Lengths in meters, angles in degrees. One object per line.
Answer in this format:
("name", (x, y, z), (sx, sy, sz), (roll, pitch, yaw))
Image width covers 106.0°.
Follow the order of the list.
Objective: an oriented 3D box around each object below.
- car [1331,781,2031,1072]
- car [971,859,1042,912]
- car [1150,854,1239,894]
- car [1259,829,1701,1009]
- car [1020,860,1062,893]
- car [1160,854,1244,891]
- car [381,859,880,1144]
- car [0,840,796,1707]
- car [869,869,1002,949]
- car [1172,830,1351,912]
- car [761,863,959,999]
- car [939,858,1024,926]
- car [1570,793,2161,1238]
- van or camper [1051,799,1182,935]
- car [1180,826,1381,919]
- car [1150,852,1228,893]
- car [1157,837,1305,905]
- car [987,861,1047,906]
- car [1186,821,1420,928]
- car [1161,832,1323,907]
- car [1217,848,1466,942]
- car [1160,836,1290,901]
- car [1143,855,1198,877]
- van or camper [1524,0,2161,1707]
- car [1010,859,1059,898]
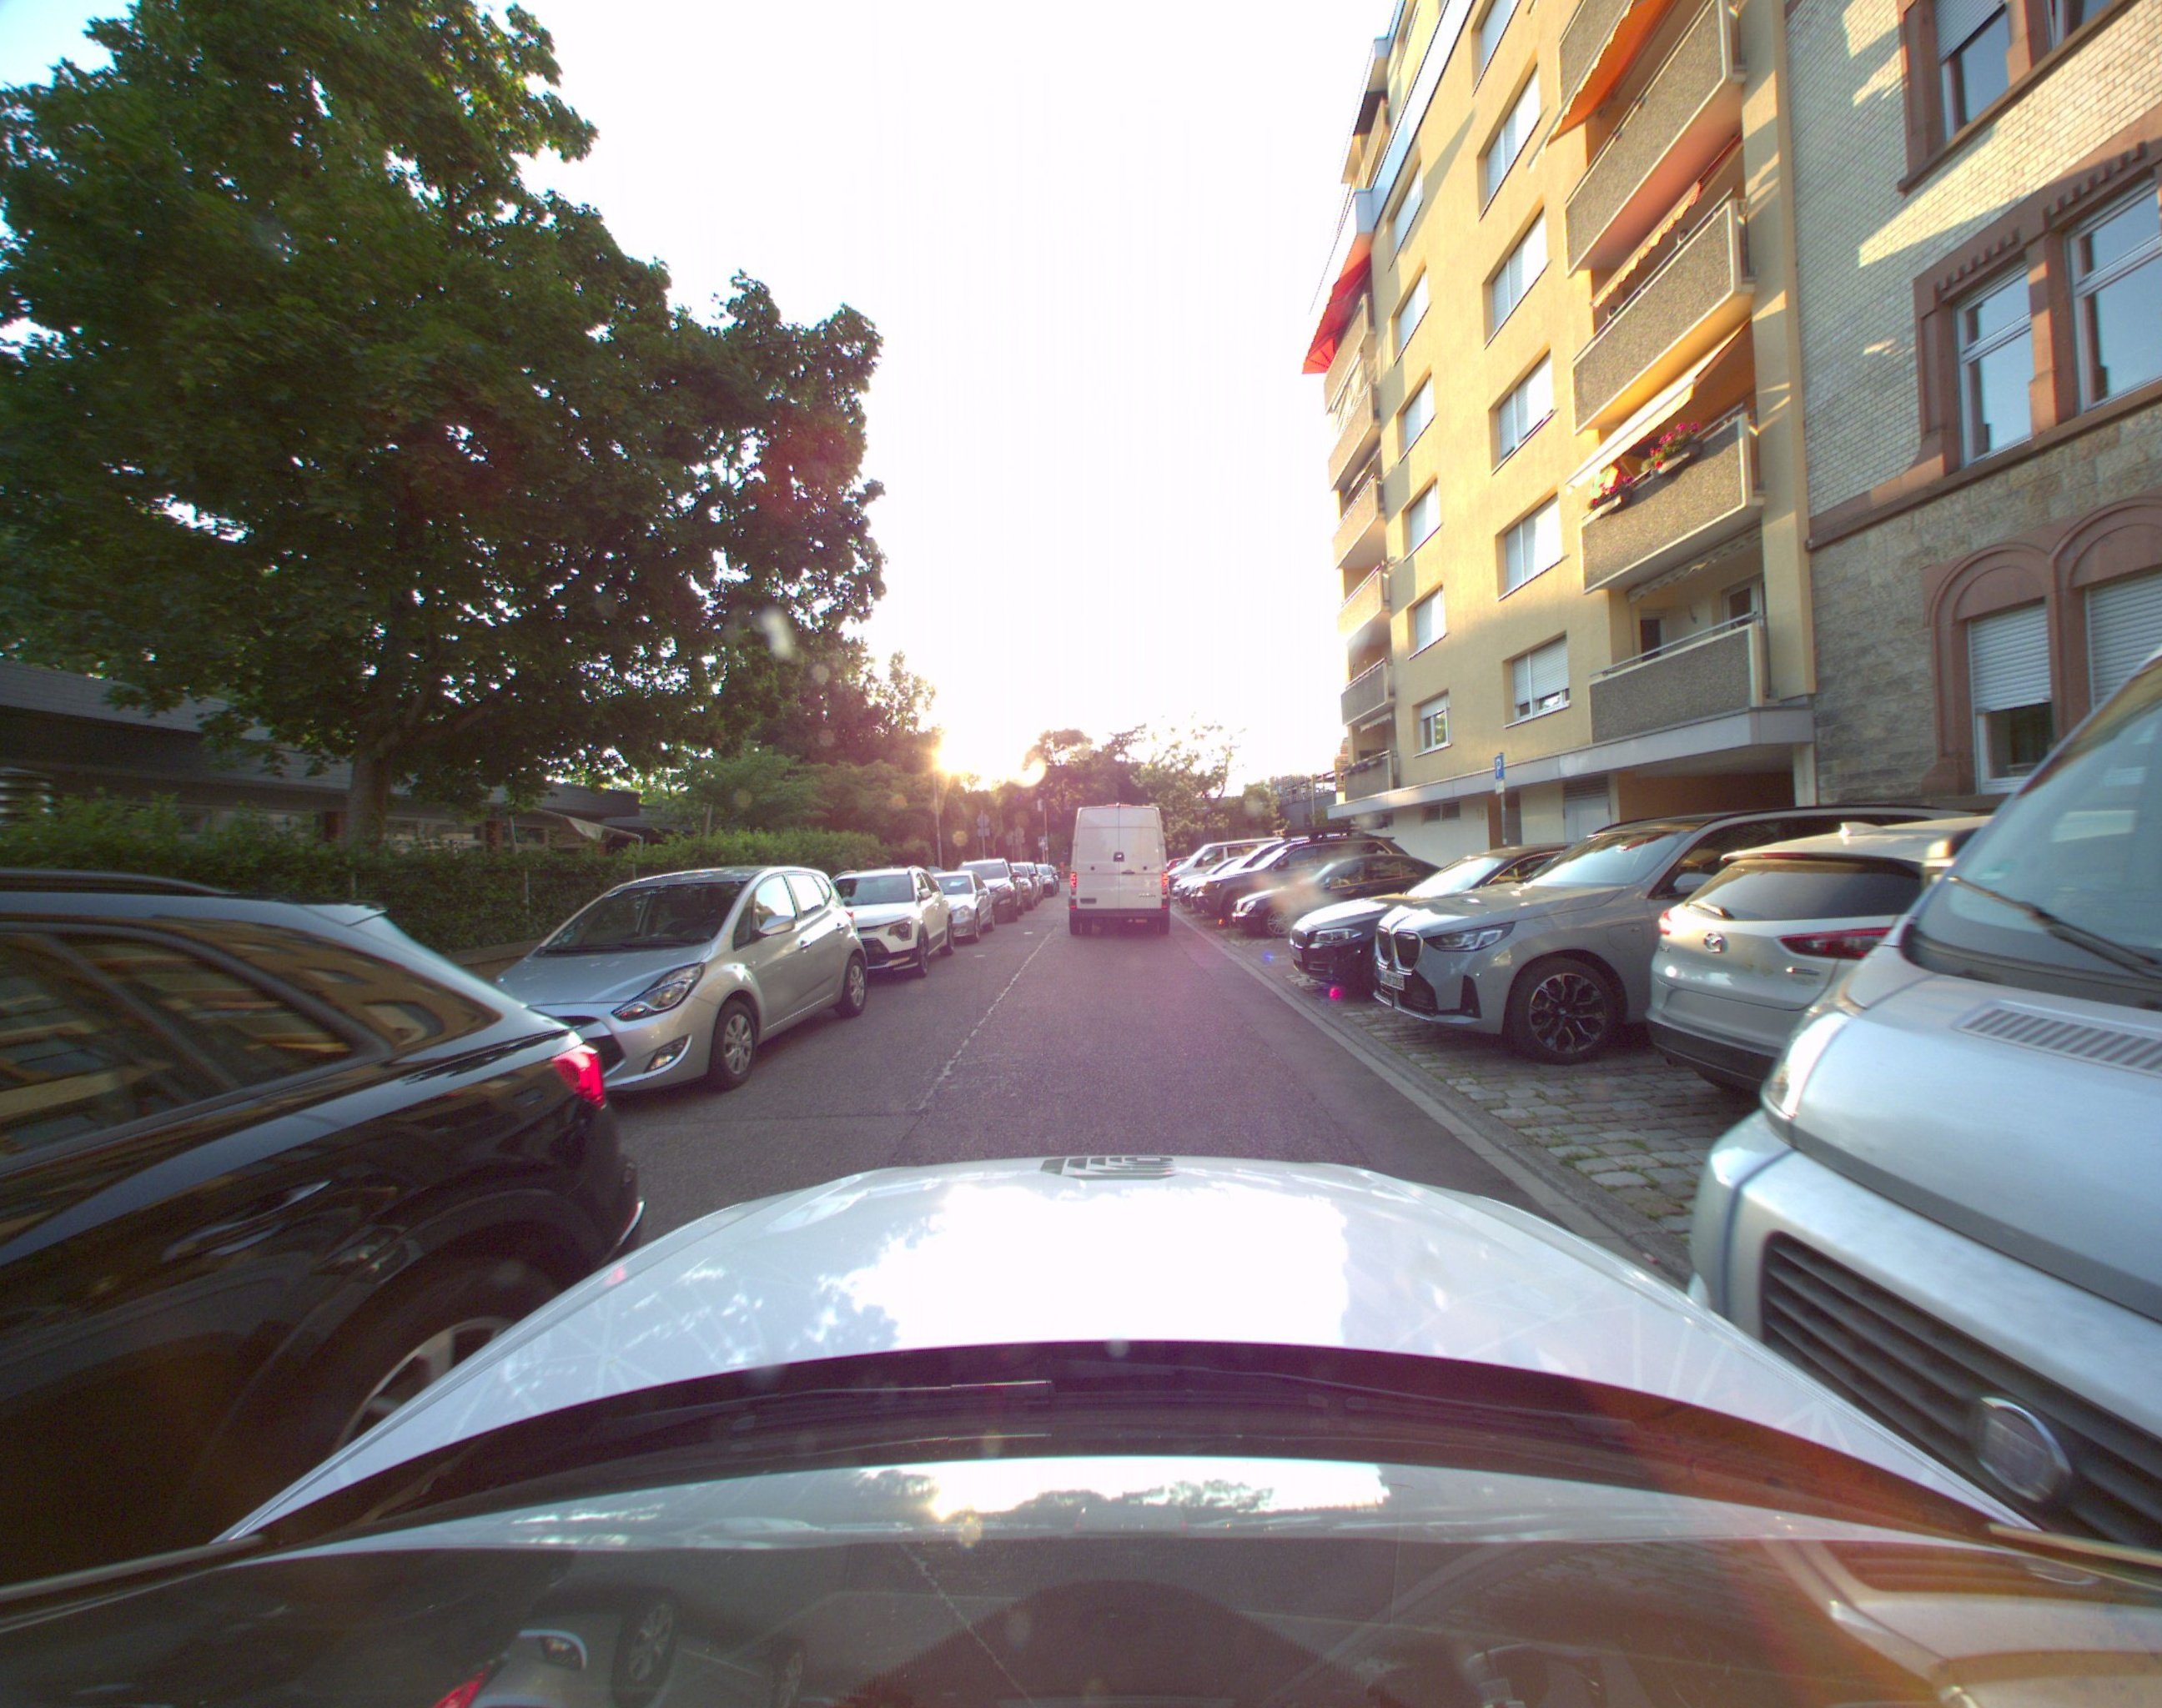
("car", (4.544, 0.478, 6.563), (4.427, 1.728, 1.769), (-3, 0, -5))
("car", (-2.456, 1.013, 27.705), (1.987, 1.618, 3.999), (-2, 0, 0))
("car", (5.266, 0.905, 38.208), (3.972, 1.728, 2.001), (-2, -1, 2))
("car", (4.249, 0.650, 9.121), (3.978, 1.453, 1.833), (-5, 0, -3))
("car", (-2.048, 1.143, 43.248), (1.987, 1.618, 3.999), (-2, 0, 0))
("car", (6.071, 0.914, 41.233), (3.972, 1.728, 2.001), (-2, -1, 2))
("car", (-3.291, 0.929, 7.030), (1.775, 1.631, 4.004), (-5, -1, 4))
("car", (-2.275, 0.813, 0.707), (1.794, 1.569, 4.576), (-3, -1, 9))
("car", (-2.929, 1.071, 17.278), (1.986, 1.398, 4.001), (-2, 0, 1))
("car", (5.087, 0.470, 23.477), (4.691, 2.145, 2.000), (-2, 0, 0))
("car", (-3.082, 0.988, 12.287), (1.851, 1.555, 4.097), (-4, 0, -1))
("car", (-2.640, 0.967, 22.499), (1.989, 1.662, 3.996), (-2, 0, -3))
("car", (5.196, 0.508, 4.124), (4.427, 1.595, 1.769), (-3, 0, -5))
("van or camper", (0.899, 0.266, 18.493), (2.442, 2.547, 6.090), (-1, 0, 4))
("car", (5.030, 0.457, 21.050), (4.691, 2.145, 2.000), (-2, 0, 0))
("car", (5.734, 0.968, 43.560), (3.970, 2.014, 2.002), (-2, -1, 3))
("car", (5.098, 0.569, 28.157), (4.691, 2.145, 2.000), (-2, 0, 0))
("car", (-2.438, 1.104, 32.019), (1.987, 1.618, 3.999), (-2, 0, 0))
("car", (4.859, 0.444, 18.358), (4.691, 2.145, 2.000), (-2, 0, 0))
("car", (4.987, 0.483, 25.712), (4.691, 2.145, 2.000), (-2, 0, 0))
("car", (4.904, 0.748, 15.749), (4.222, 1.425, 1.719), (-4, -1, 0))
("car", (5.282, 0.539, 30.340), (4.480, 2.230, 2.032), (-1, -1, 0))
("car", (6.949, 0.909, 63.503), (3.977, 1.618, 1.998), (-2, 0, -2))
("van or camper", (4.157, -0.077, 1.116), (5.909, 2.770, 2.109), (-1, -1, 0))
("car", (-2.104, 1.089, 37.735), (1.987, 1.618, 3.999), (-2, 0, 0))
